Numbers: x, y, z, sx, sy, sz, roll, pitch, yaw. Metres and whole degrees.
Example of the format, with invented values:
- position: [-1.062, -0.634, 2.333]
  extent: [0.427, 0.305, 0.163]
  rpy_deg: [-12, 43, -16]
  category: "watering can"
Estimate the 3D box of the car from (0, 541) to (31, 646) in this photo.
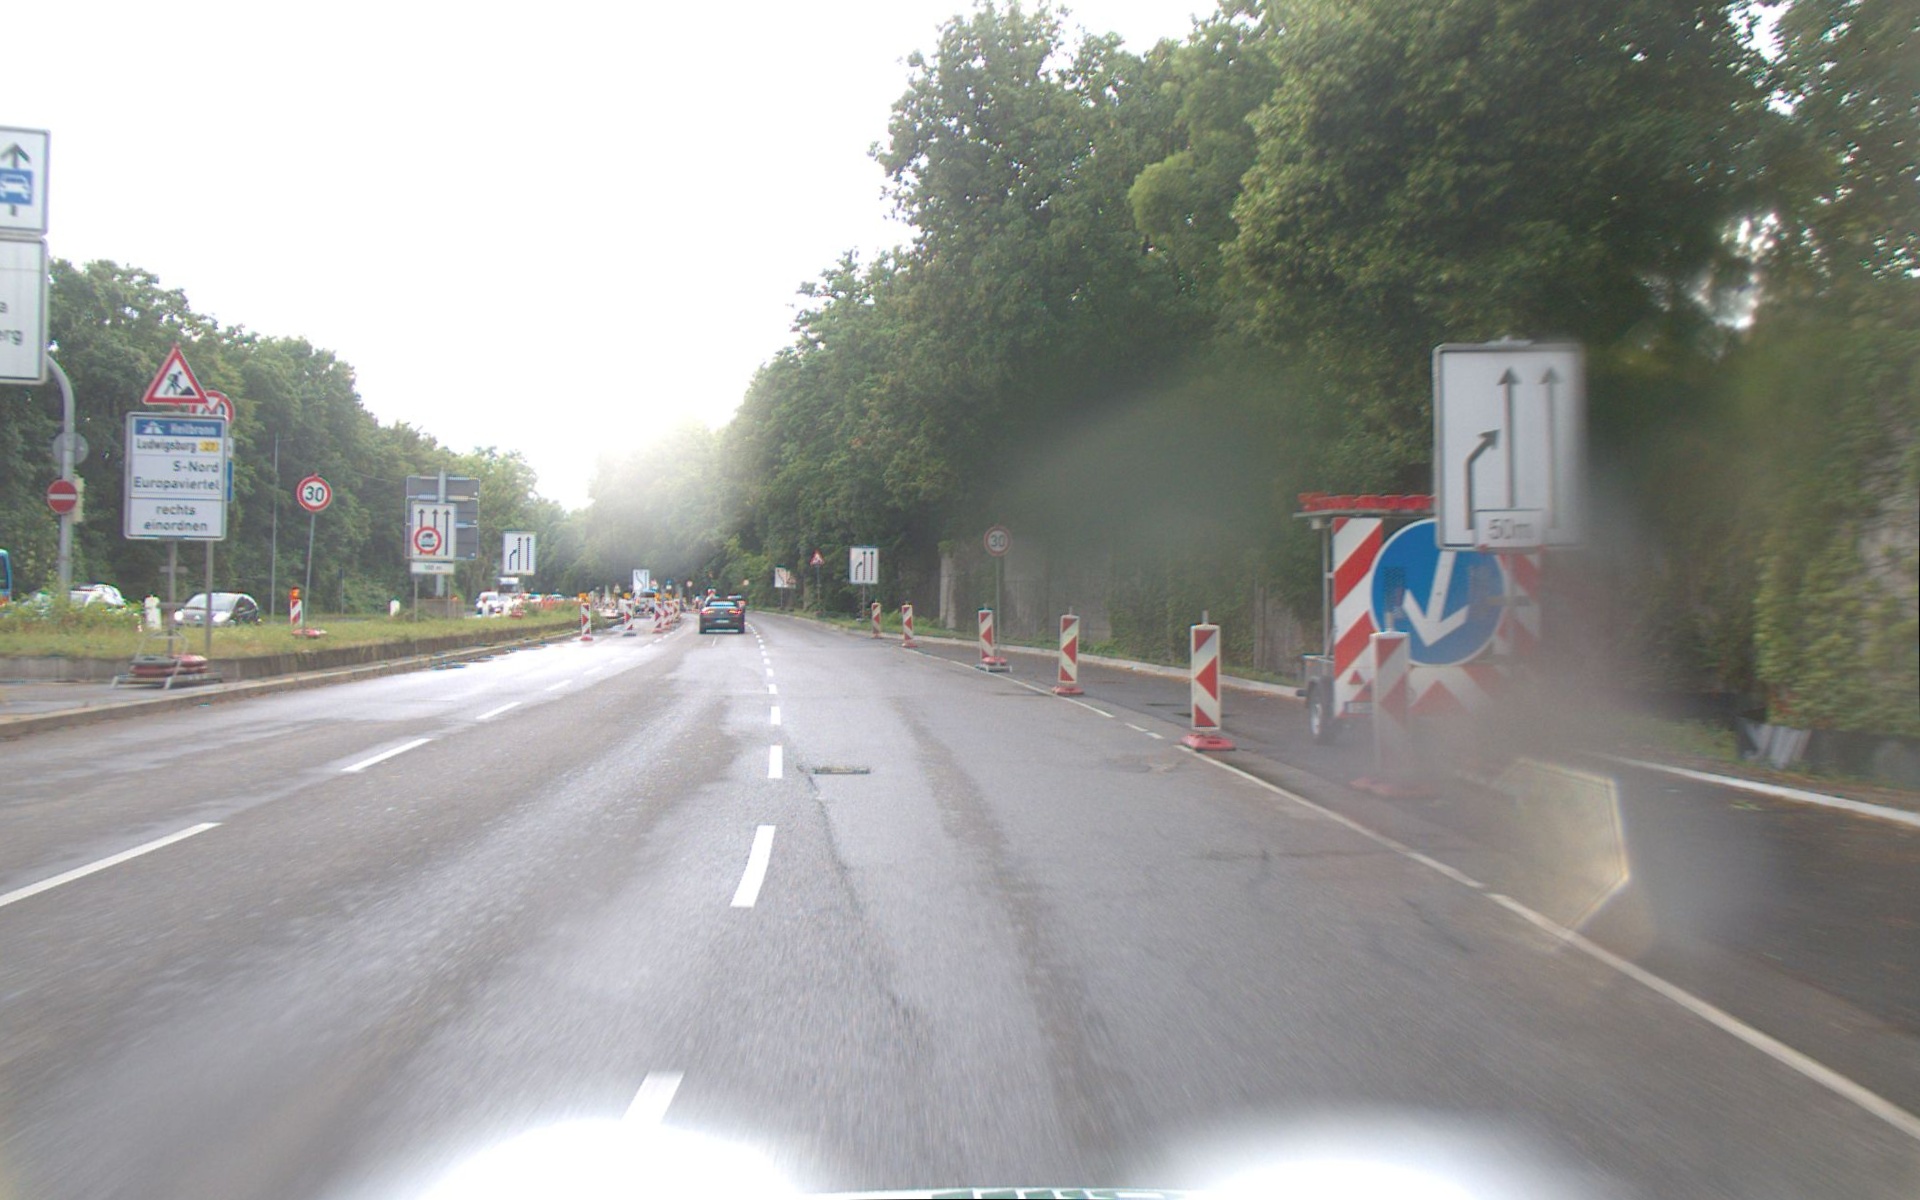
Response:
- position: [-23.096, -0.167, 36.501]
  extent: [2.152, 2.432, 6.236]
  rpy_deg: [1, 0, -6]
  category: "car"

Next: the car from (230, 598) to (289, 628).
- position: [-26.773, 0.491, 63.294]
  extent: [1.245, 1.104, 2.790]
  rpy_deg: [1, 0, -5]
  category: "car"

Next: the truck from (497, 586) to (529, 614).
- position: [-54.163, 0.027, 200.718]
  extent: [2.744, 3.203, 10.123]
  rpy_deg: [0, -1, -10]
  category: "truck"

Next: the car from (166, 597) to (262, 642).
- position: [-20.898, 0.556, 46.444]
  extent: [1.401, 1.221, 3.296]
  rpy_deg: [1, -1, -5]
  category: "car"

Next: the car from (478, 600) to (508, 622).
- position: [-39.215, 0.895, 138.956]
  extent: [1.879, 1.812, 4.823]
  rpy_deg: [0, 0, -9]
  category: "car"

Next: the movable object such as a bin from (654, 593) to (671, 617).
- position: [-37.081, 0.618, 206.075]
  extent: [1.717, 2.918, 3.520]
  rpy_deg: [-1, -1, -15]
  category: "movable object such as a bin"

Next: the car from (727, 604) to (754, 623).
- position: [-19.466, 1.155, 146.375]
  extent: [1.881, 1.626, 4.817]
  rpy_deg: [0, 0, -13]
  category: "car"

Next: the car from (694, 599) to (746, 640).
- position: [-9.819, 0.776, 67.942]
  extent: [1.826, 1.517, 3.997]
  rpy_deg: [1, 1, -5]
  category: "car"

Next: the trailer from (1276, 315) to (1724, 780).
- position: [4.855, -0.385, 16.095]
  extent: [2.261, 3.652, 5.958]
  rpy_deg: [-1, -1, -1]
  category: "trailer"
